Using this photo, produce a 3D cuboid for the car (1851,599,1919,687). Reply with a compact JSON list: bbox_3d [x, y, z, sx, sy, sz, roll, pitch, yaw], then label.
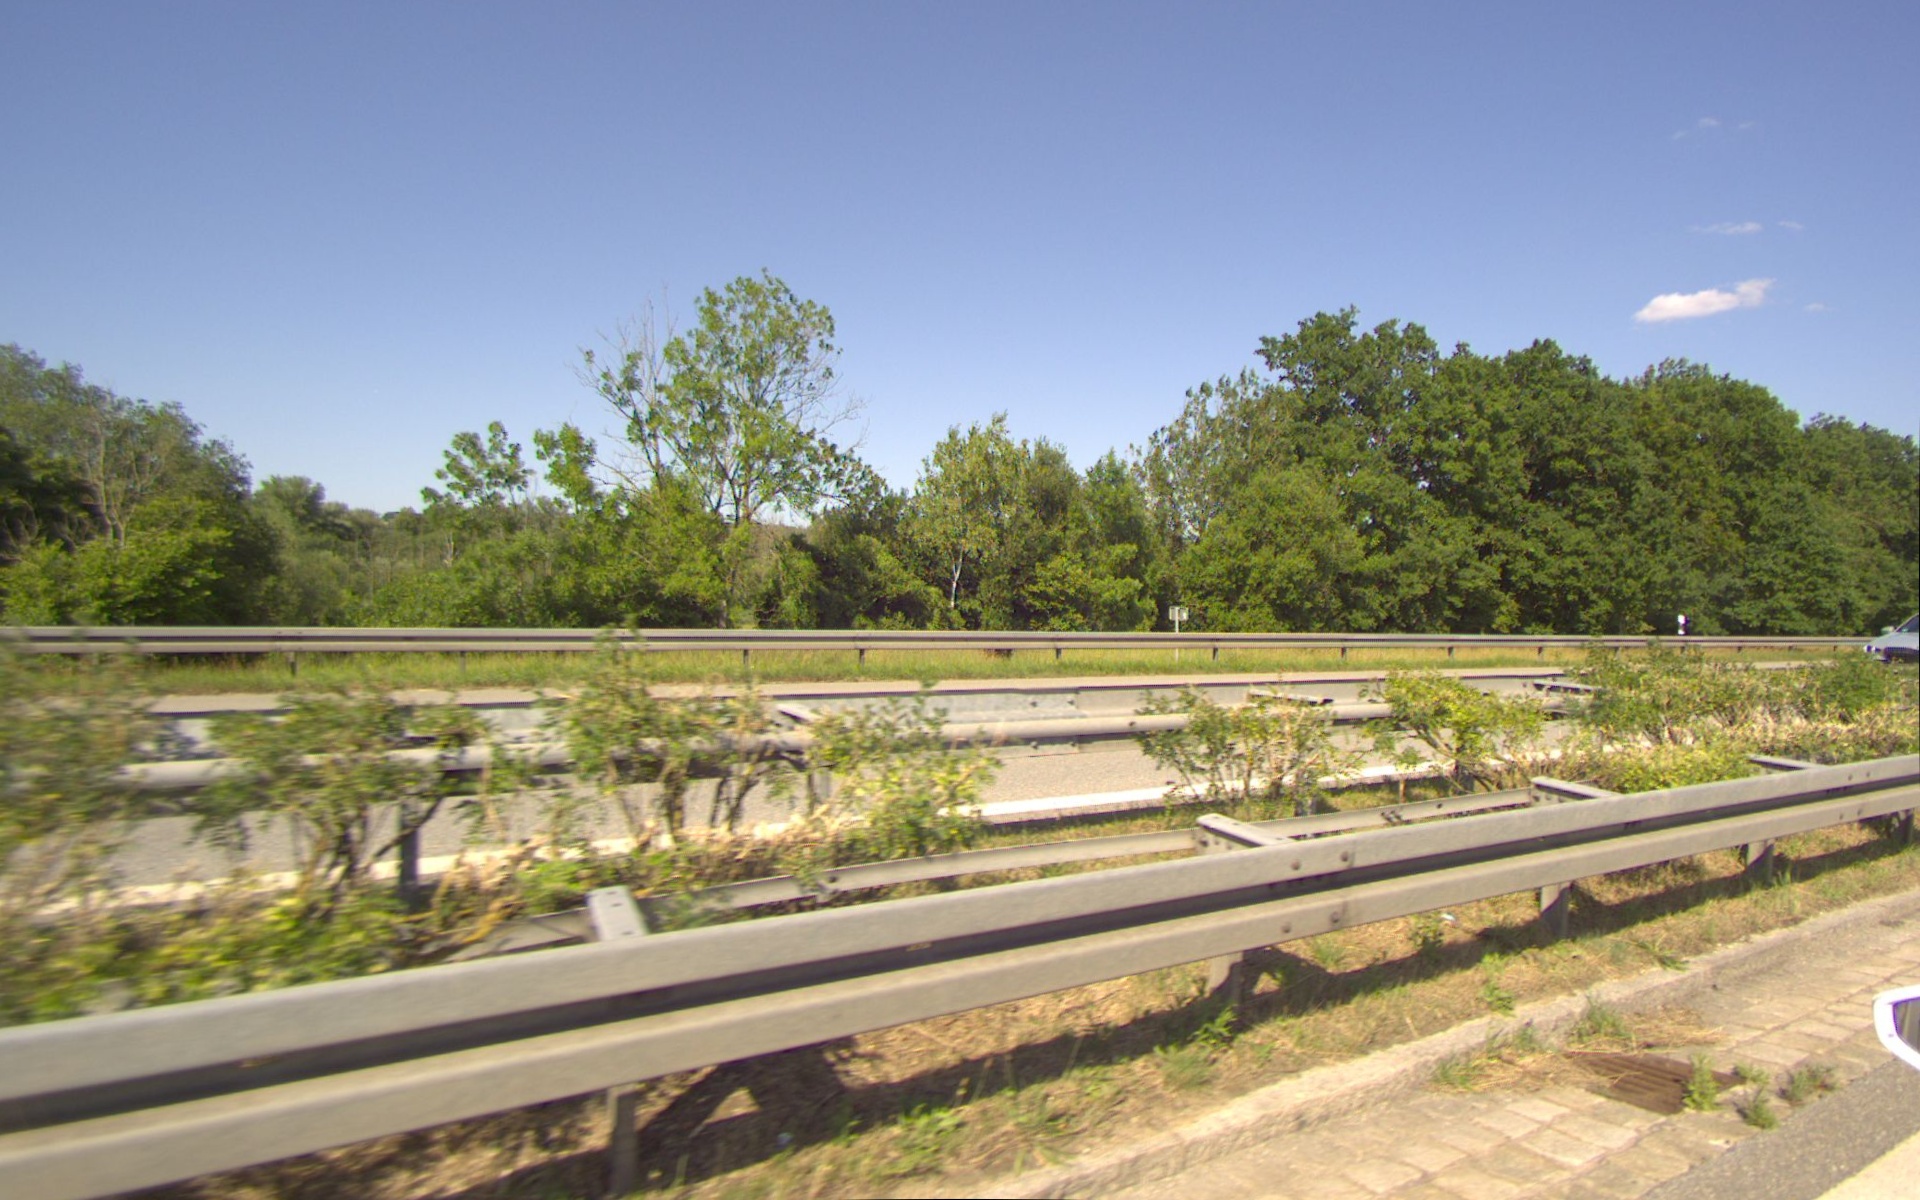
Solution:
[{"bbox_3d":[18.694,0.786,18.608,4.736,1.525,1.922,1,-1,-30],"label":"car"}]
